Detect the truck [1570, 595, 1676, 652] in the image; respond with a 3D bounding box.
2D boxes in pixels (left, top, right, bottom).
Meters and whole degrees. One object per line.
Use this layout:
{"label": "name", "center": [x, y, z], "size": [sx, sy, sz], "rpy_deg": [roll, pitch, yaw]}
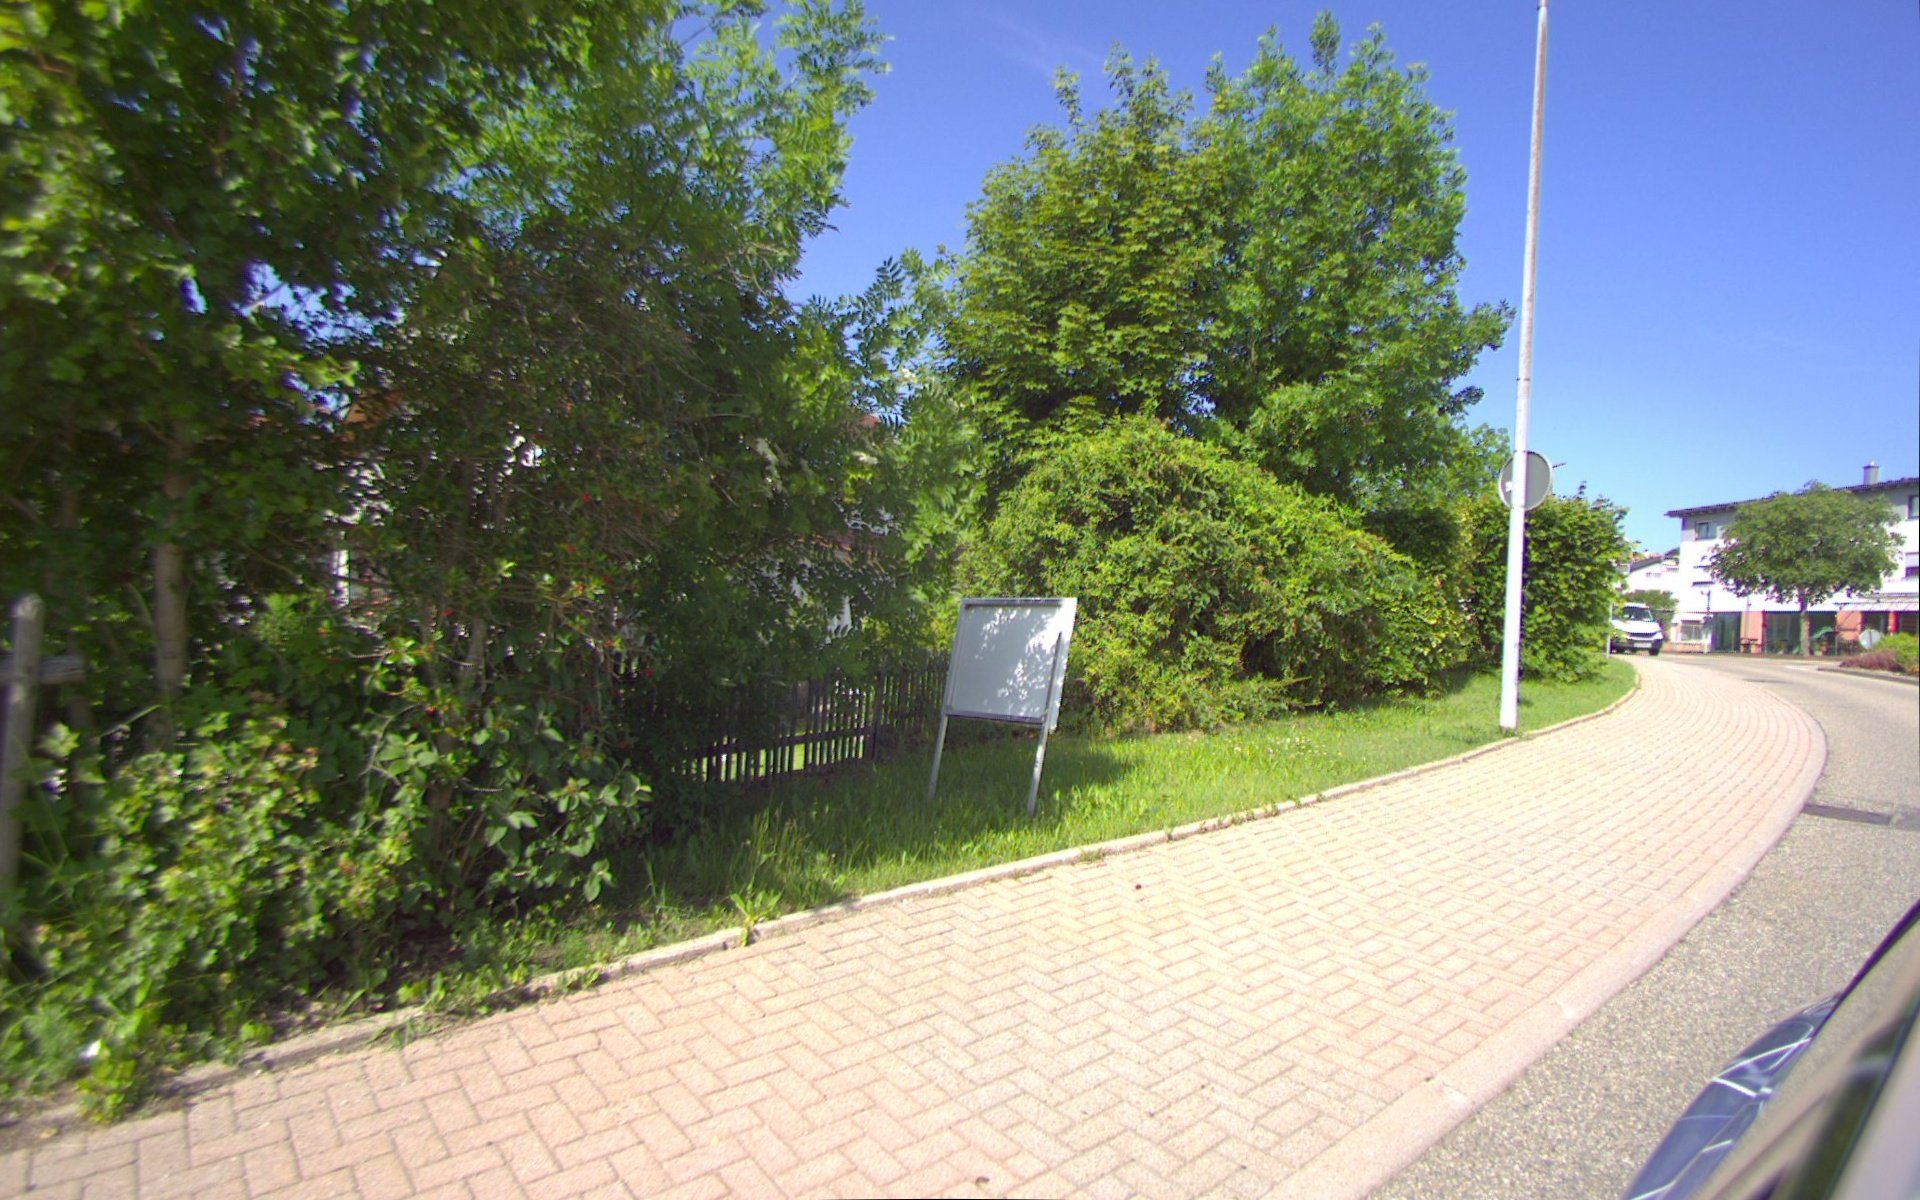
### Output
{"label": "truck", "center": [29.263, 1.130, 44.963], "size": [1.971, 2.372, 6.459], "rpy_deg": [-1, -3, 15]}
